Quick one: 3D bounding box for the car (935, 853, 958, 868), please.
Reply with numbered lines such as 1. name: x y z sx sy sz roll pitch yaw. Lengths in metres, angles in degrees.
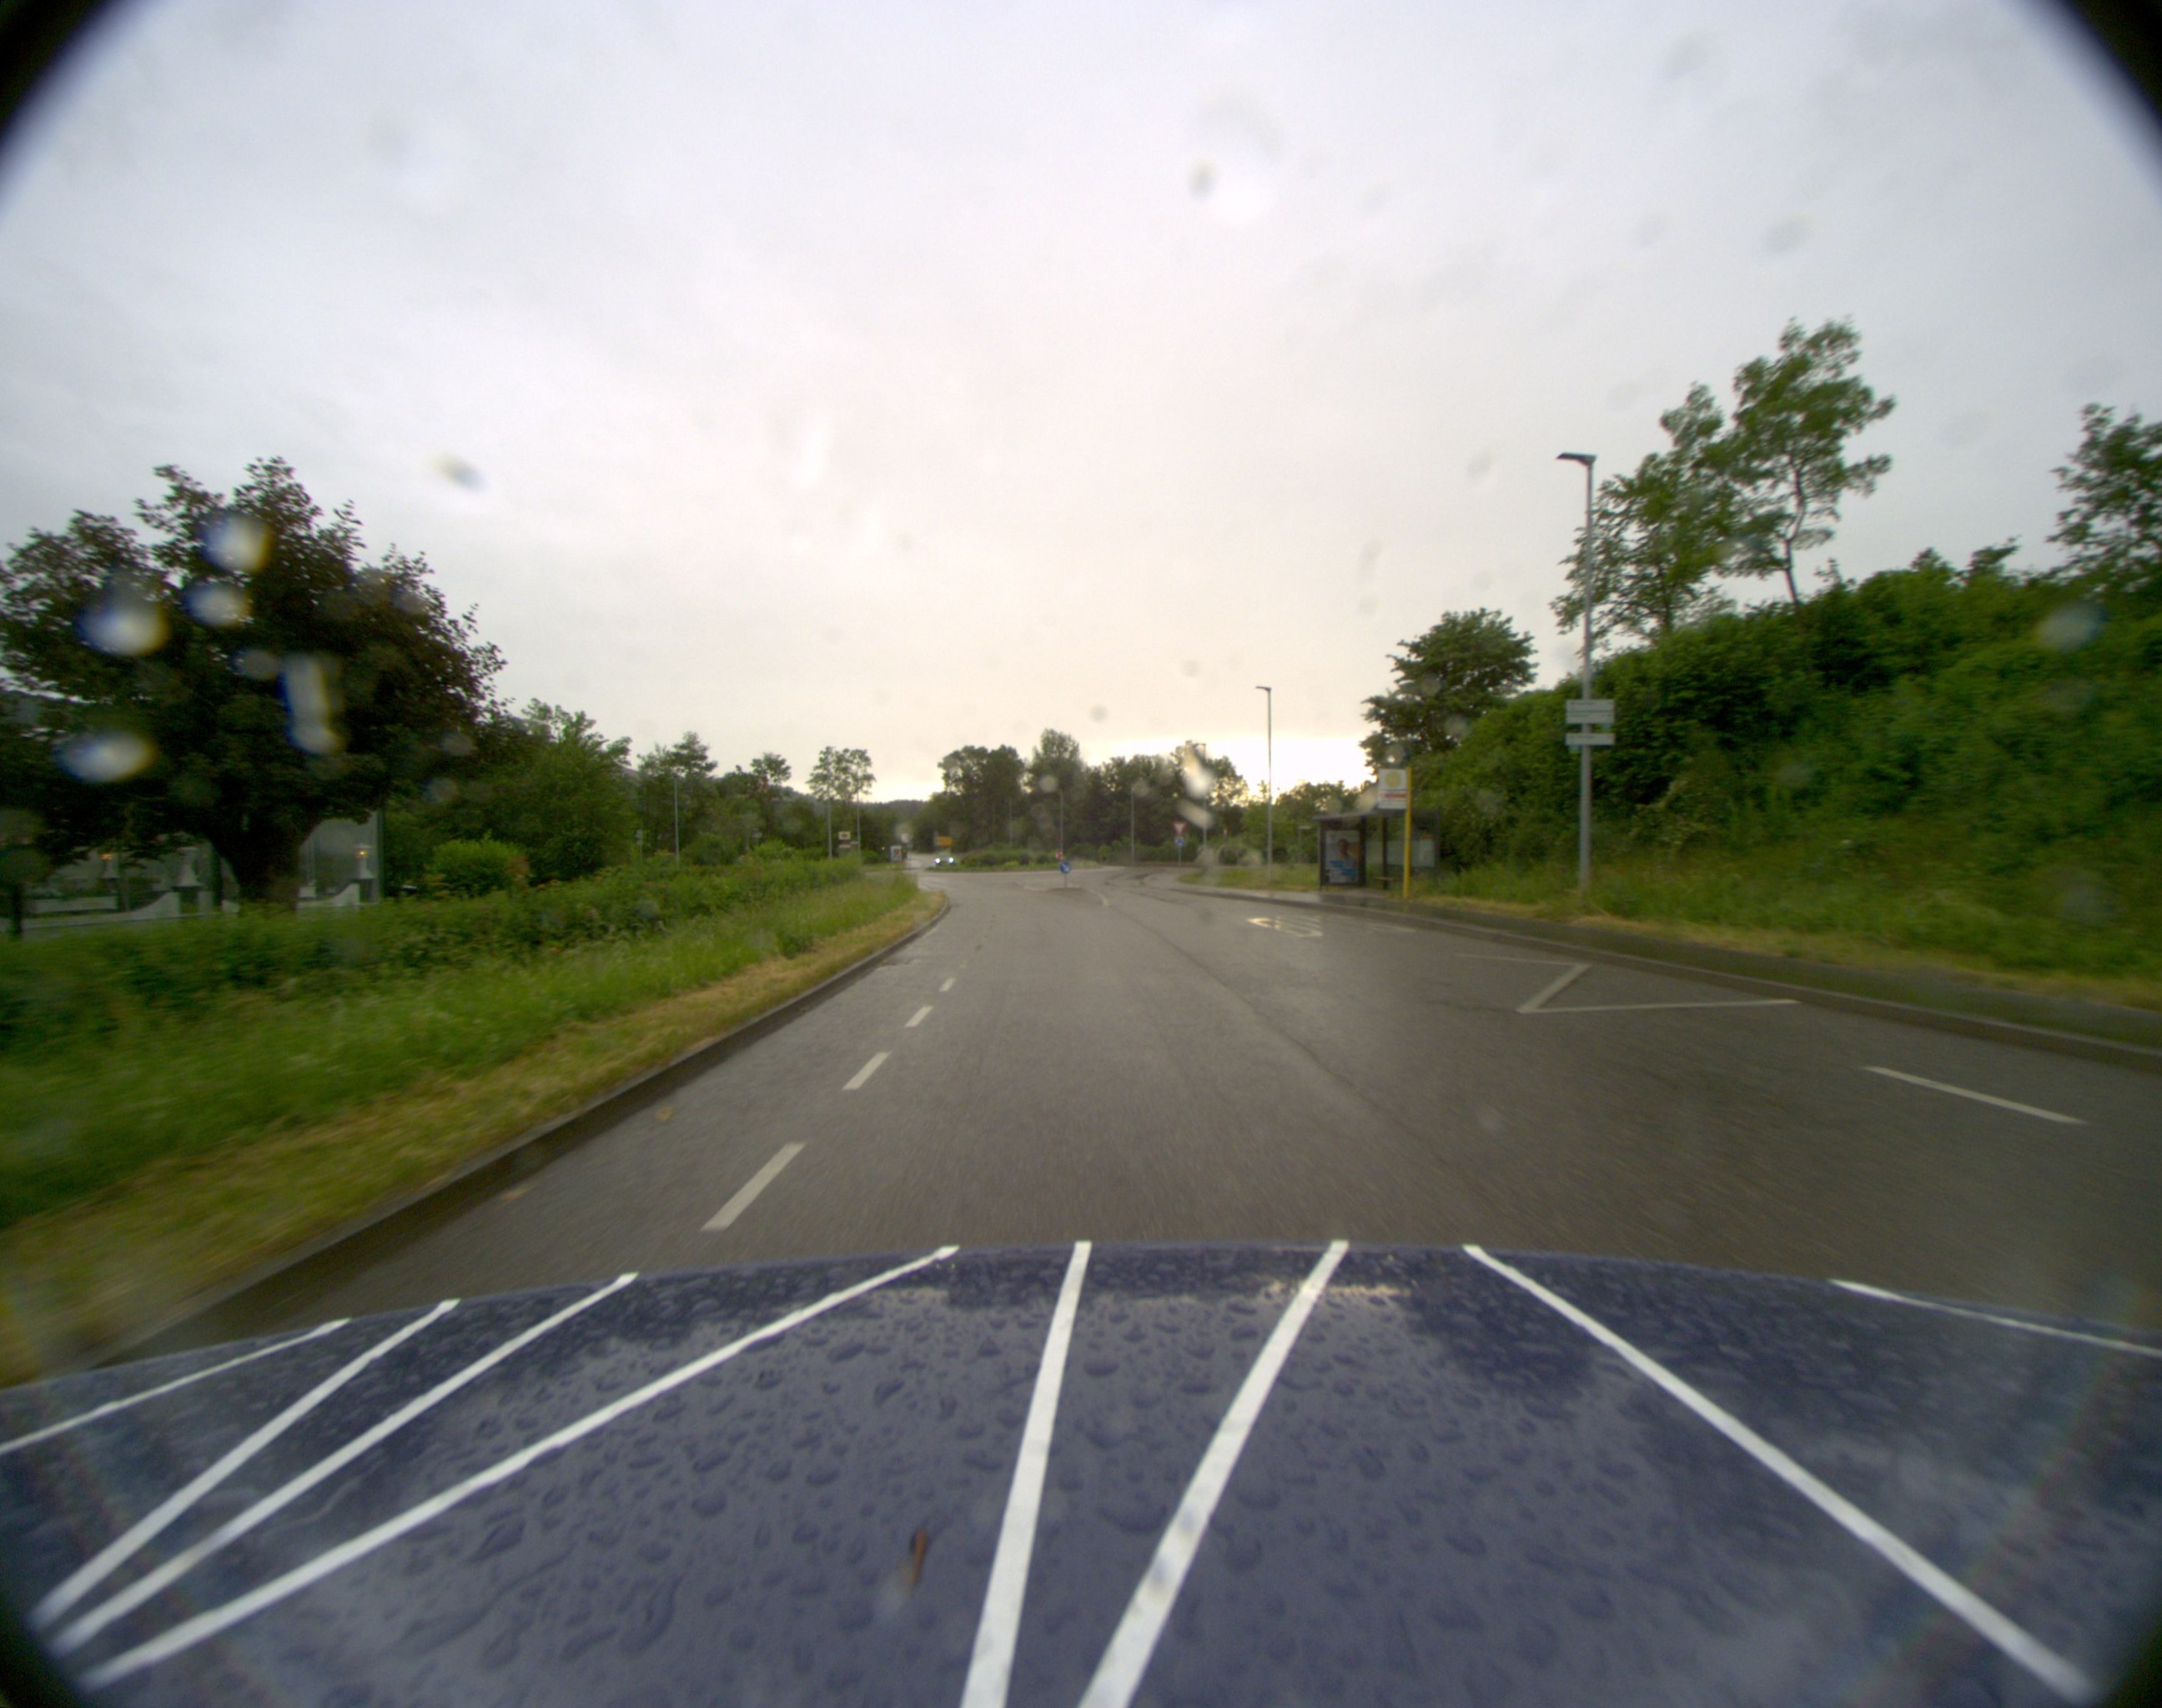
1. car: -14.261 0.659 80.439 1.858 1.481 4.114 -2 1 -17
